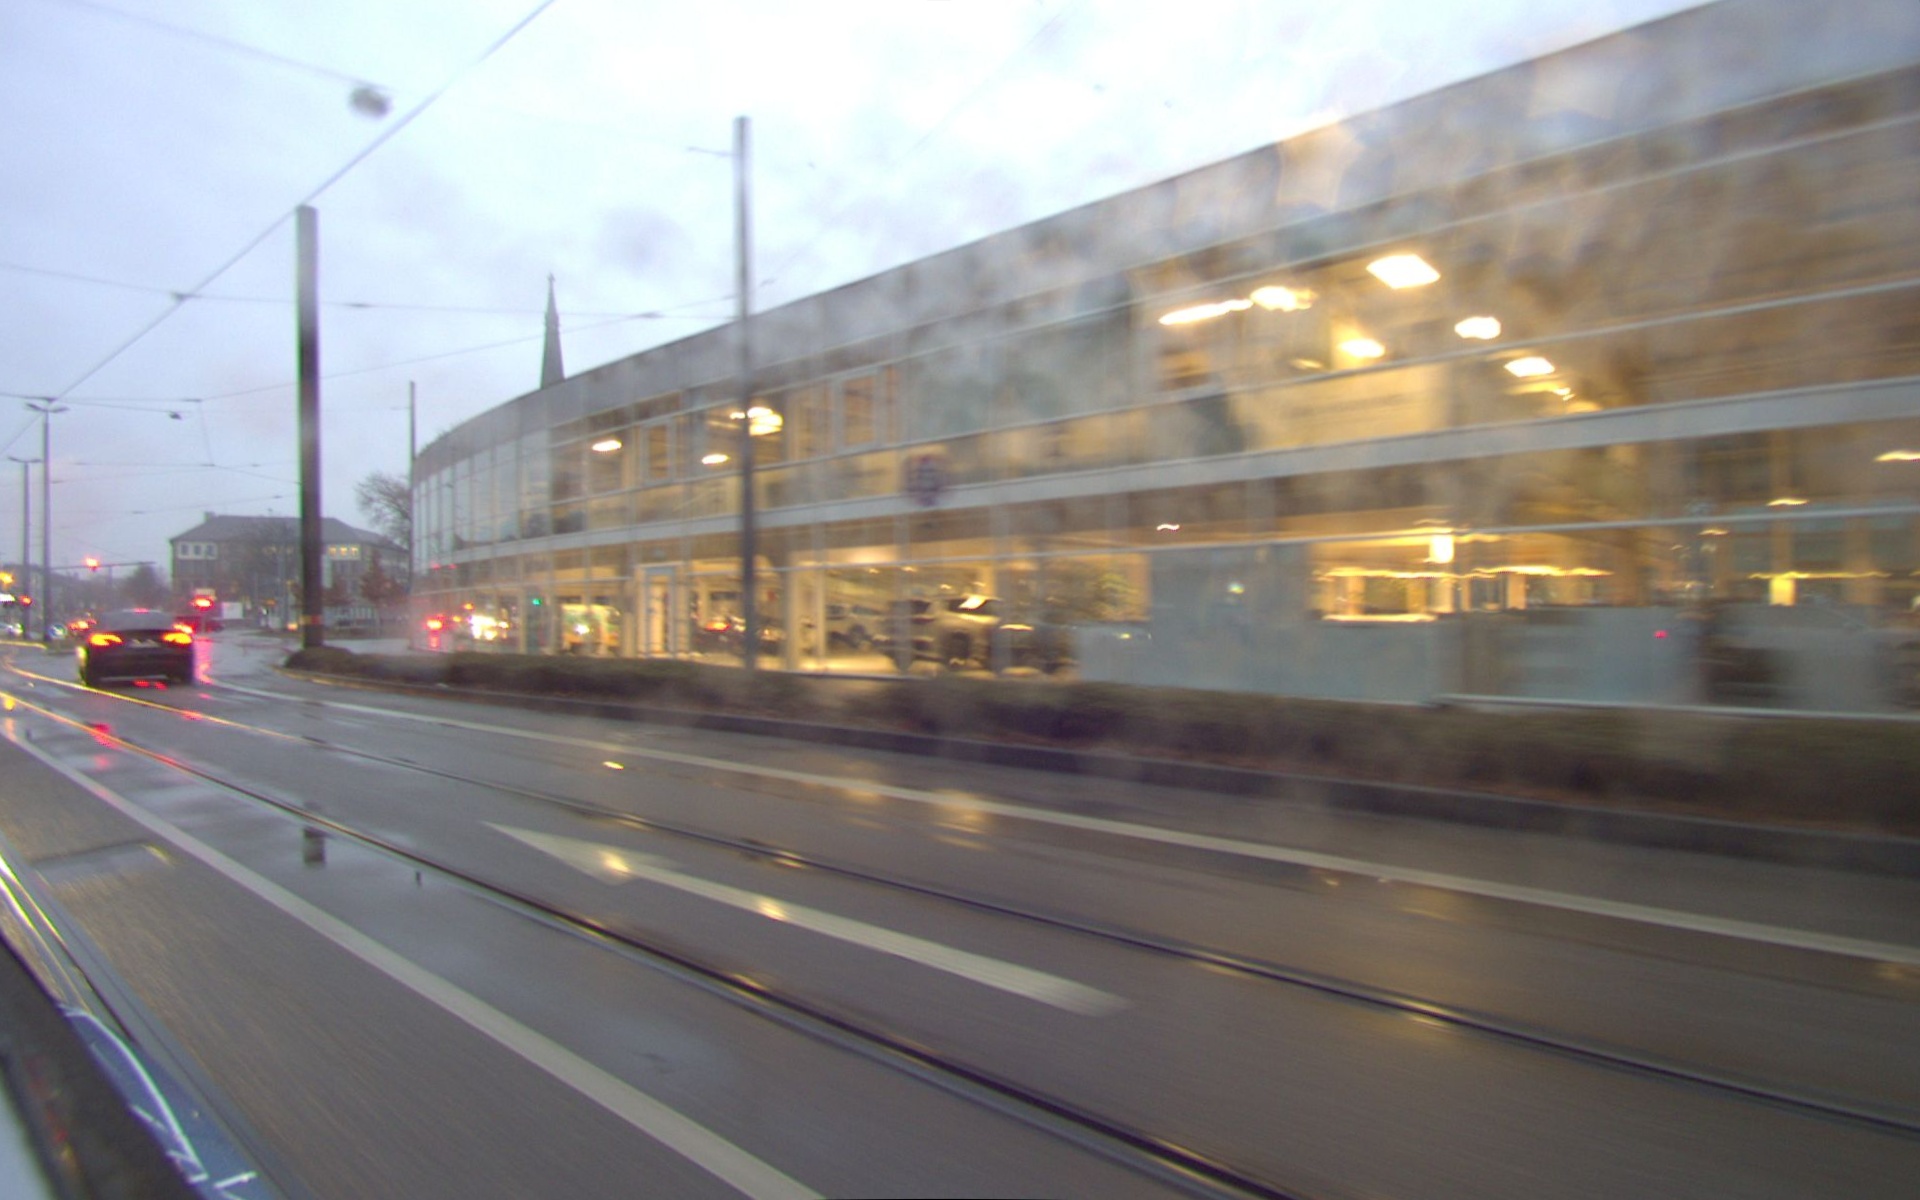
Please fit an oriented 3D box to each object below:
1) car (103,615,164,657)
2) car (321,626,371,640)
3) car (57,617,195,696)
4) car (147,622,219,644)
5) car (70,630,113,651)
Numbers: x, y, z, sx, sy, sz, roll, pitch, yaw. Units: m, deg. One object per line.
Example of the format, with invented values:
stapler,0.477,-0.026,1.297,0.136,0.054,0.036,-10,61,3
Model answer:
car,-42.559,1.810,52.053,1.971,2.029,4.687,-1,0,-45
car,-62.225,3.332,102.591,3.949,1.320,1.997,-1,0,5
car,-18.645,1.193,22.556,4.442,1.590,1.821,-2,-1,43
car,-78.303,3.296,102.075,1.988,2.029,5.507,-1,0,24
car,-59.042,2.729,68.764,4.001,1.401,1.850,-1,-3,44
